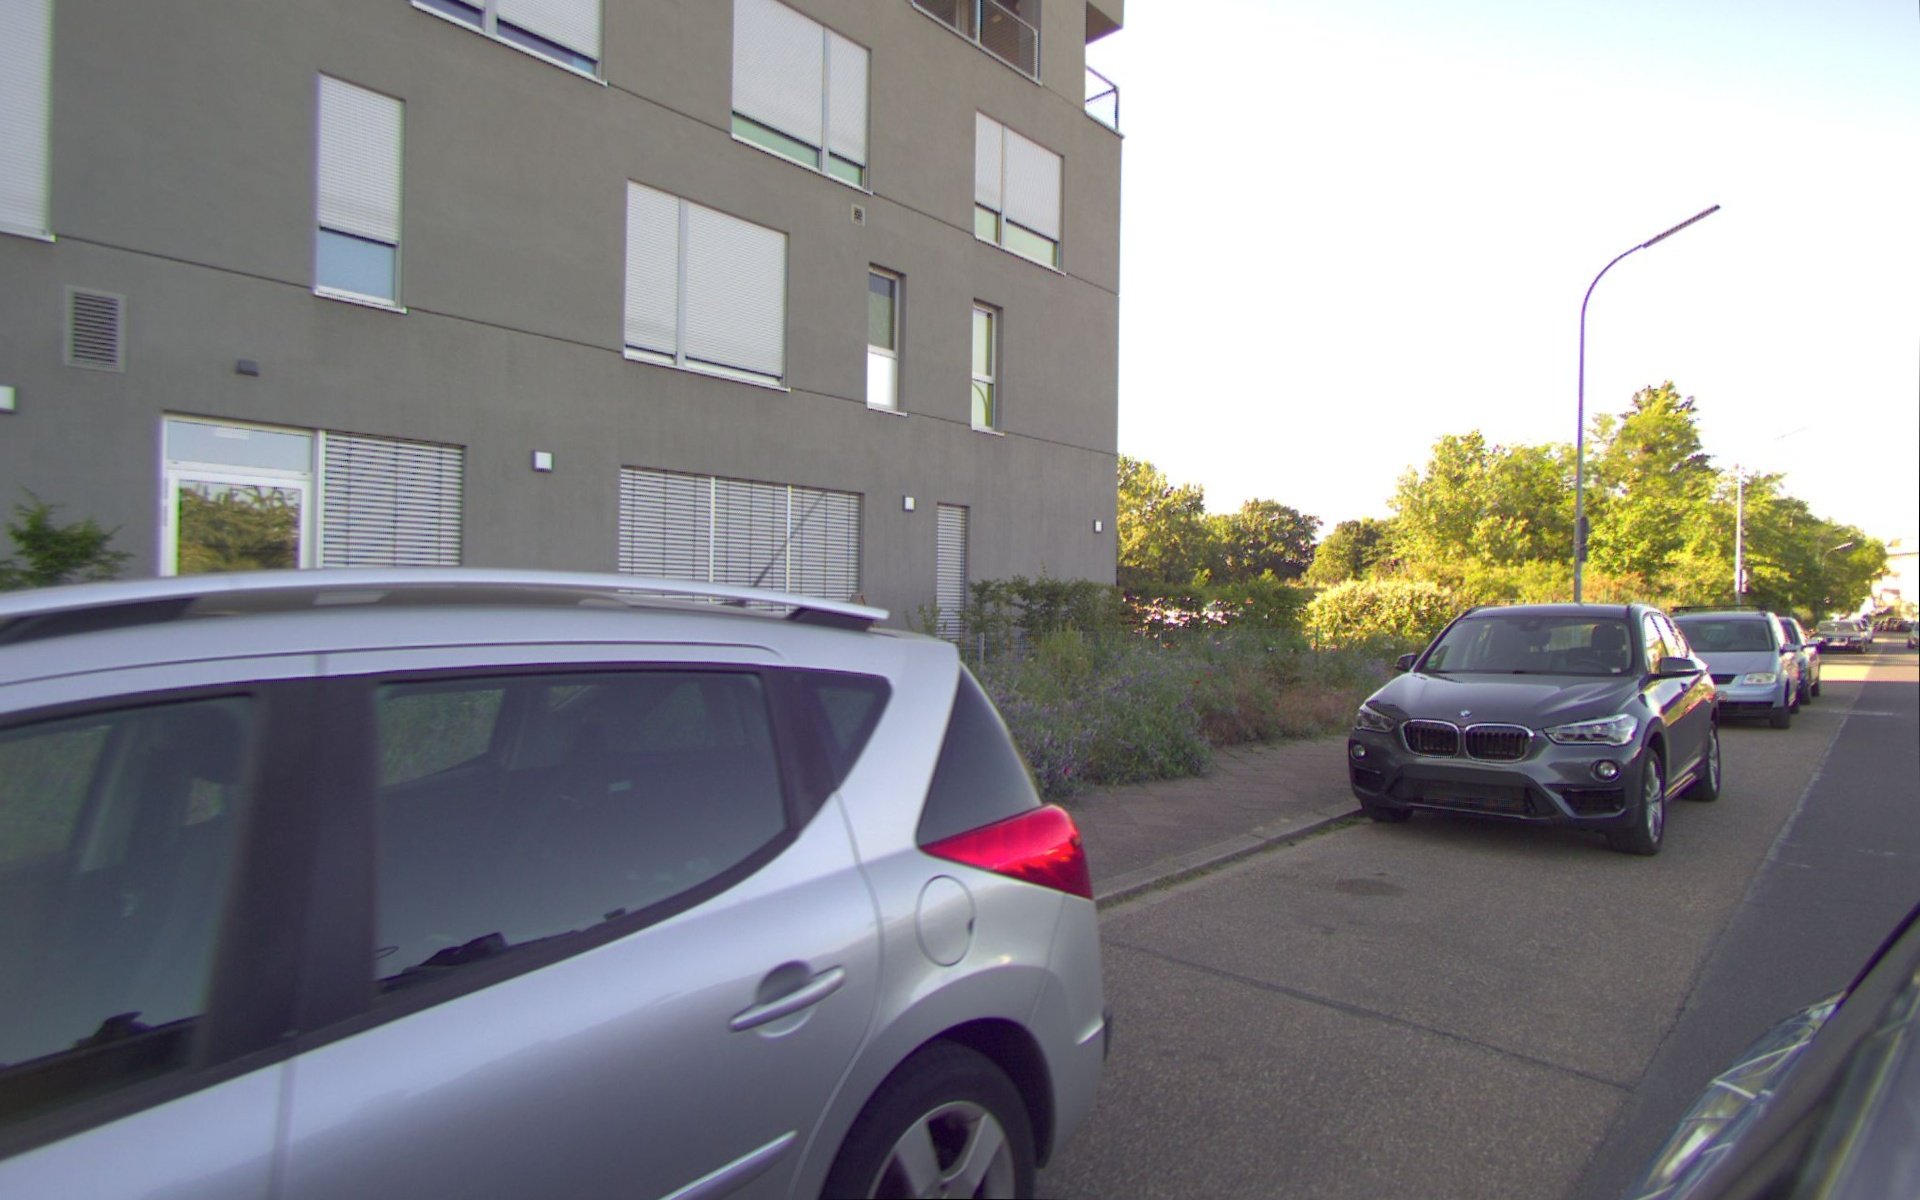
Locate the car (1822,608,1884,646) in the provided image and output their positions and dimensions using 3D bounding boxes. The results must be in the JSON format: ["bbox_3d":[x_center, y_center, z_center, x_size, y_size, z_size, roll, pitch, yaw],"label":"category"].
[{"bbox_3d":[39.048,1.142,44.224,1.869,1.546,4.088,0,-1,44],"label":"car"}]

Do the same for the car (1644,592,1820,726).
[{"bbox_3d":[11.711,0.814,15.241,1.705,1.728,4.283,-3,-2,42],"label":"car"}]

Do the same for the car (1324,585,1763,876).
[{"bbox_3d":[4.737,0.747,7.836,4.724,1.587,1.745,1,-2,-45],"label":"car"}]

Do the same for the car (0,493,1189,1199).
[{"bbox_3d":[-1.504,0.699,1.497,1.706,1.546,4.088,-3,-2,44],"label":"car"}]

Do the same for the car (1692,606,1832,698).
[{"bbox_3d":[14.996,0.920,18.872,1.706,1.546,3.043,-3,-2,44],"label":"car"}]
